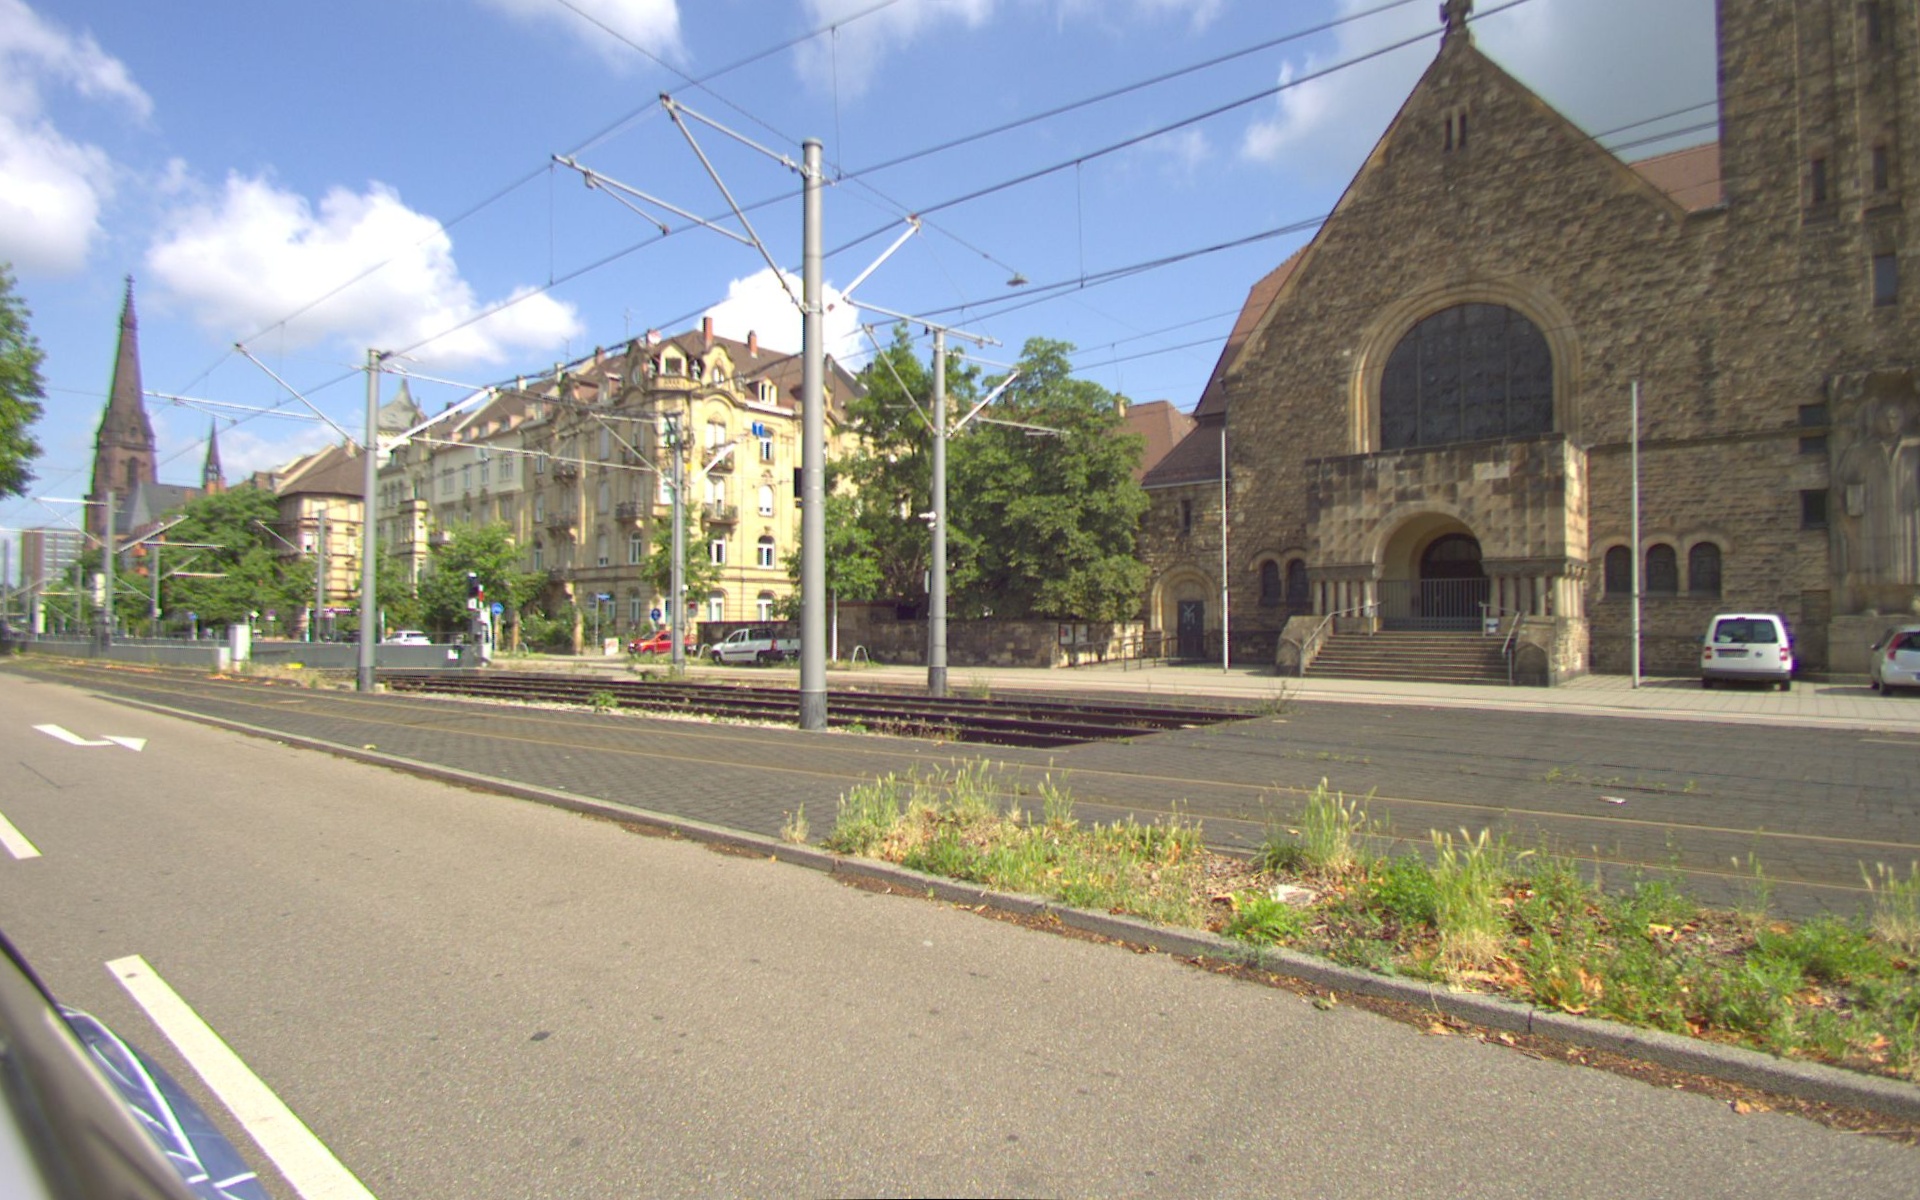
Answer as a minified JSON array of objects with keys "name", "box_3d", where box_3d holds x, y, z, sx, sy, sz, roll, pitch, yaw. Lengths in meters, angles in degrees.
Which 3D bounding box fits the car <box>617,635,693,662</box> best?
[{"name":"car","box_3d":[-17.525,2.762,58.234,1.933,1.475,3.738,-2,-3,44]}]

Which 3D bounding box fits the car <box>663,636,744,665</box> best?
[{"name":"car","box_3d":[-13.624,2.672,53.988,1.723,1.475,3.921,-2,-3,41]}]

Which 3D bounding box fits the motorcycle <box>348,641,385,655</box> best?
[{"name":"motorcycle","box_3d":[-40.680,3.300,69.359,1.416,0.949,1.742,-2,-4,39]}]

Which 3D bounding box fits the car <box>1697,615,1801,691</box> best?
[{"name":"car","box_3d":[19.760,1.291,25.403,1.892,1.762,3.832,-2,-3,38]}]

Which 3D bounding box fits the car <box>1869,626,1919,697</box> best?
[{"name":"car","box_3d":[21.723,1.351,22.654,1.853,1.514,3.232,-2,-3,39]}]

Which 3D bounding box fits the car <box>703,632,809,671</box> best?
[{"name":"car","box_3d":[-8.379,2.071,41.423,4.410,1.516,1.911,-2,-3,39]}]

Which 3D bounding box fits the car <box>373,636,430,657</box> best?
[{"name":"car","box_3d":[-36.093,2.990,65.328,4.308,1.338,1.734,-2,-3,39]}]

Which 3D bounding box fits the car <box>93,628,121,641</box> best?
[{"name":"car","box_3d":[-104.264,4.230,123.703,4.111,1.650,1.973,-2,-3,41]}]

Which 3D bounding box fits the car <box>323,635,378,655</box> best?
[{"name":"car","box_3d":[-42.866,3.154,71.166,4.096,1.337,2.000,-2,-3,39]}]
